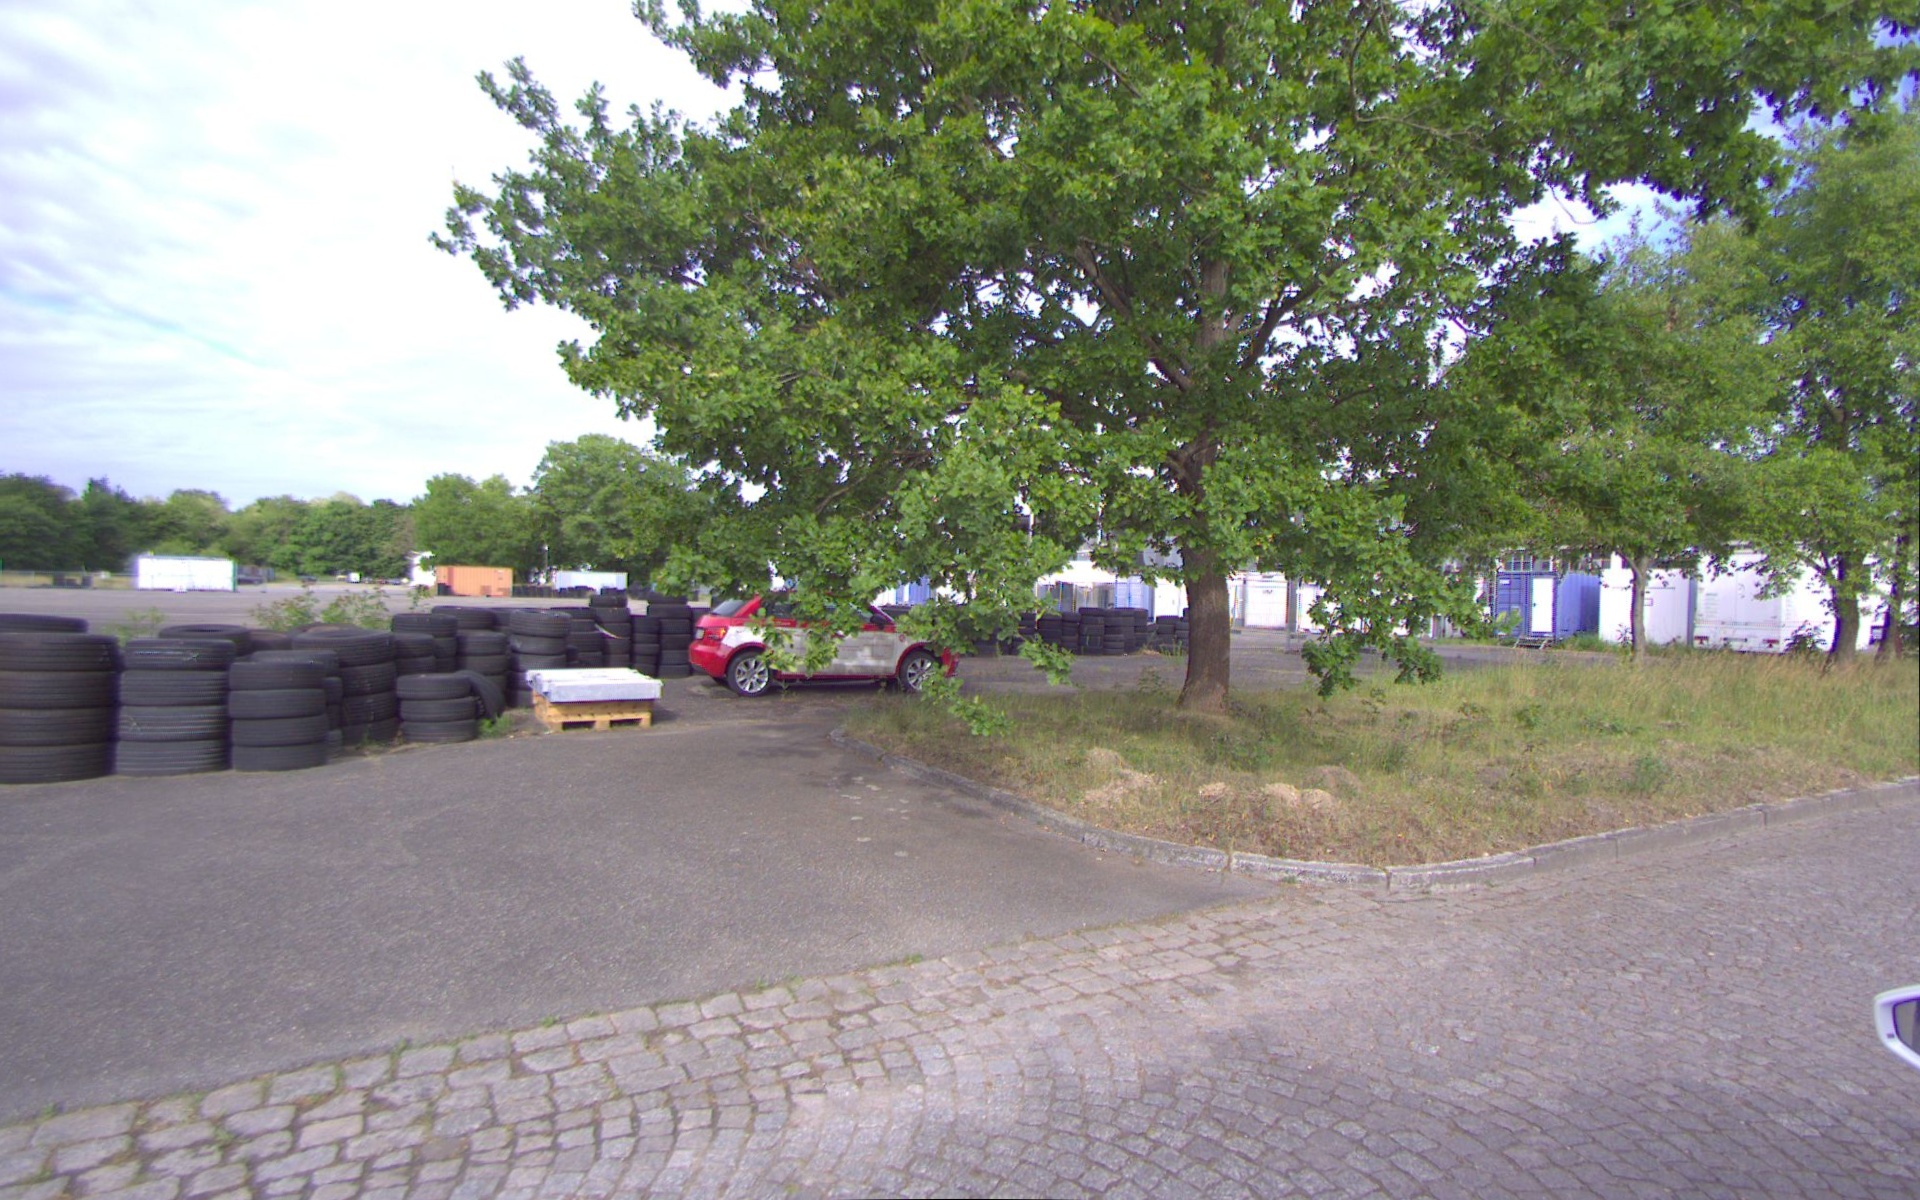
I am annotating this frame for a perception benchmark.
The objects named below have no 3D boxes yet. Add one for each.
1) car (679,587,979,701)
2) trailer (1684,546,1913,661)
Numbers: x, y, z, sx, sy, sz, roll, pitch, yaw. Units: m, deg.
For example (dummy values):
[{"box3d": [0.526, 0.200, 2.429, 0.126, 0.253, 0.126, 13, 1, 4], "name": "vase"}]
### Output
[{"box3d": [-1.877, 0.582, 14.515, 4.009, 1.453, 1.620, 1, 1, -25], "name": "car"}, {"box3d": [29.633, 0.192, 35.337, 10.051, 3.646, 2.614, 1, 1, -29], "name": "trailer"}]
